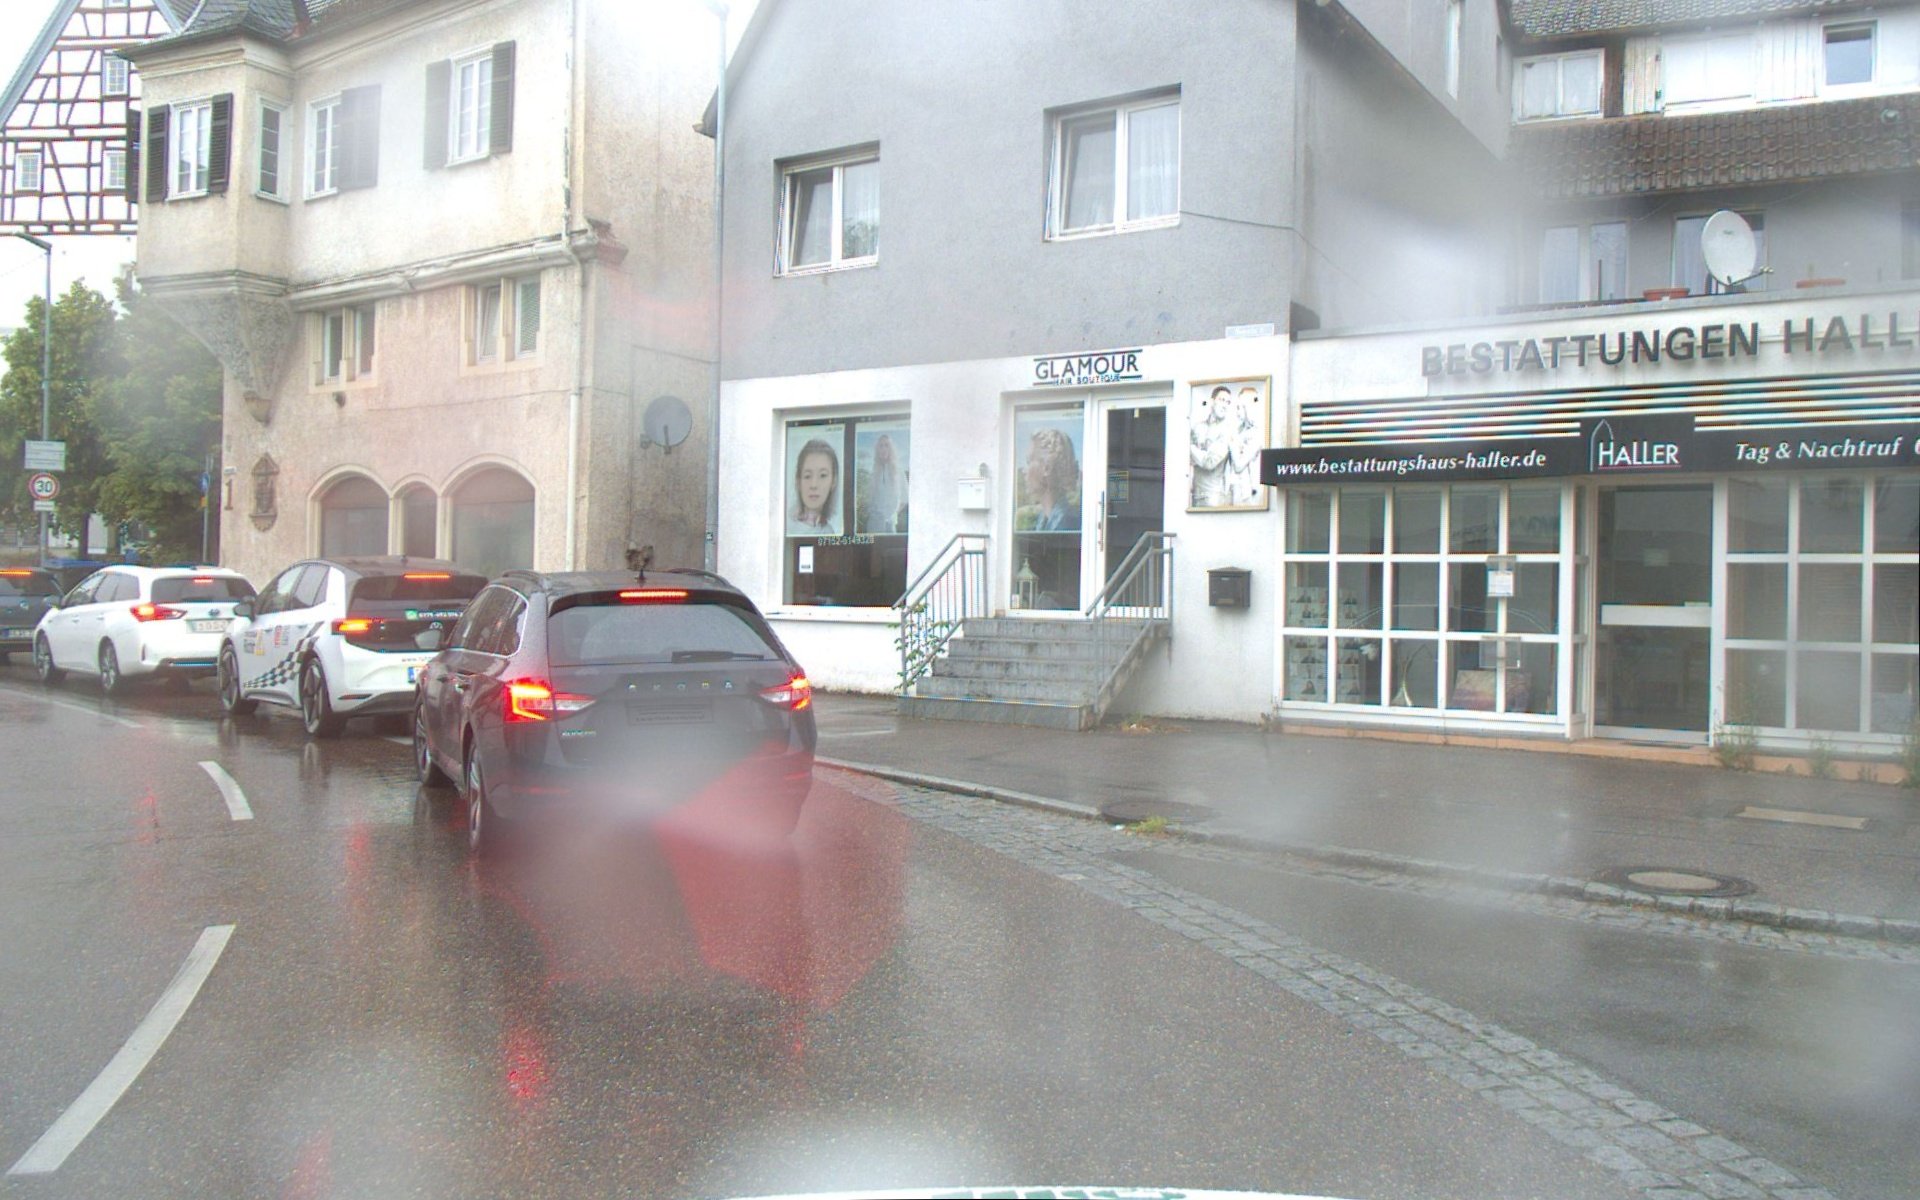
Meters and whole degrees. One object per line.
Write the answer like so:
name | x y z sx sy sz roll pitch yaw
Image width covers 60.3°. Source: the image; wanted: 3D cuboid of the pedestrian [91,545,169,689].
pedestrian | -13.991 0.270 27.872 0.861 2.367 1.211 0 0 -43

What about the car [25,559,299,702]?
car | -9.756 0.280 20.080 1.778 1.490 4.096 -1 3 -45

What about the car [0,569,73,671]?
car | -14.902 0.249 24.986 3.701 1.385 1.514 2 3 42

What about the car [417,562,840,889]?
car | -2.204 0.537 9.979 1.709 1.475 4.212 0 2 -23

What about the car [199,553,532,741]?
car | -5.790 0.344 15.804 1.777 1.543 4.183 -1 1 -38
